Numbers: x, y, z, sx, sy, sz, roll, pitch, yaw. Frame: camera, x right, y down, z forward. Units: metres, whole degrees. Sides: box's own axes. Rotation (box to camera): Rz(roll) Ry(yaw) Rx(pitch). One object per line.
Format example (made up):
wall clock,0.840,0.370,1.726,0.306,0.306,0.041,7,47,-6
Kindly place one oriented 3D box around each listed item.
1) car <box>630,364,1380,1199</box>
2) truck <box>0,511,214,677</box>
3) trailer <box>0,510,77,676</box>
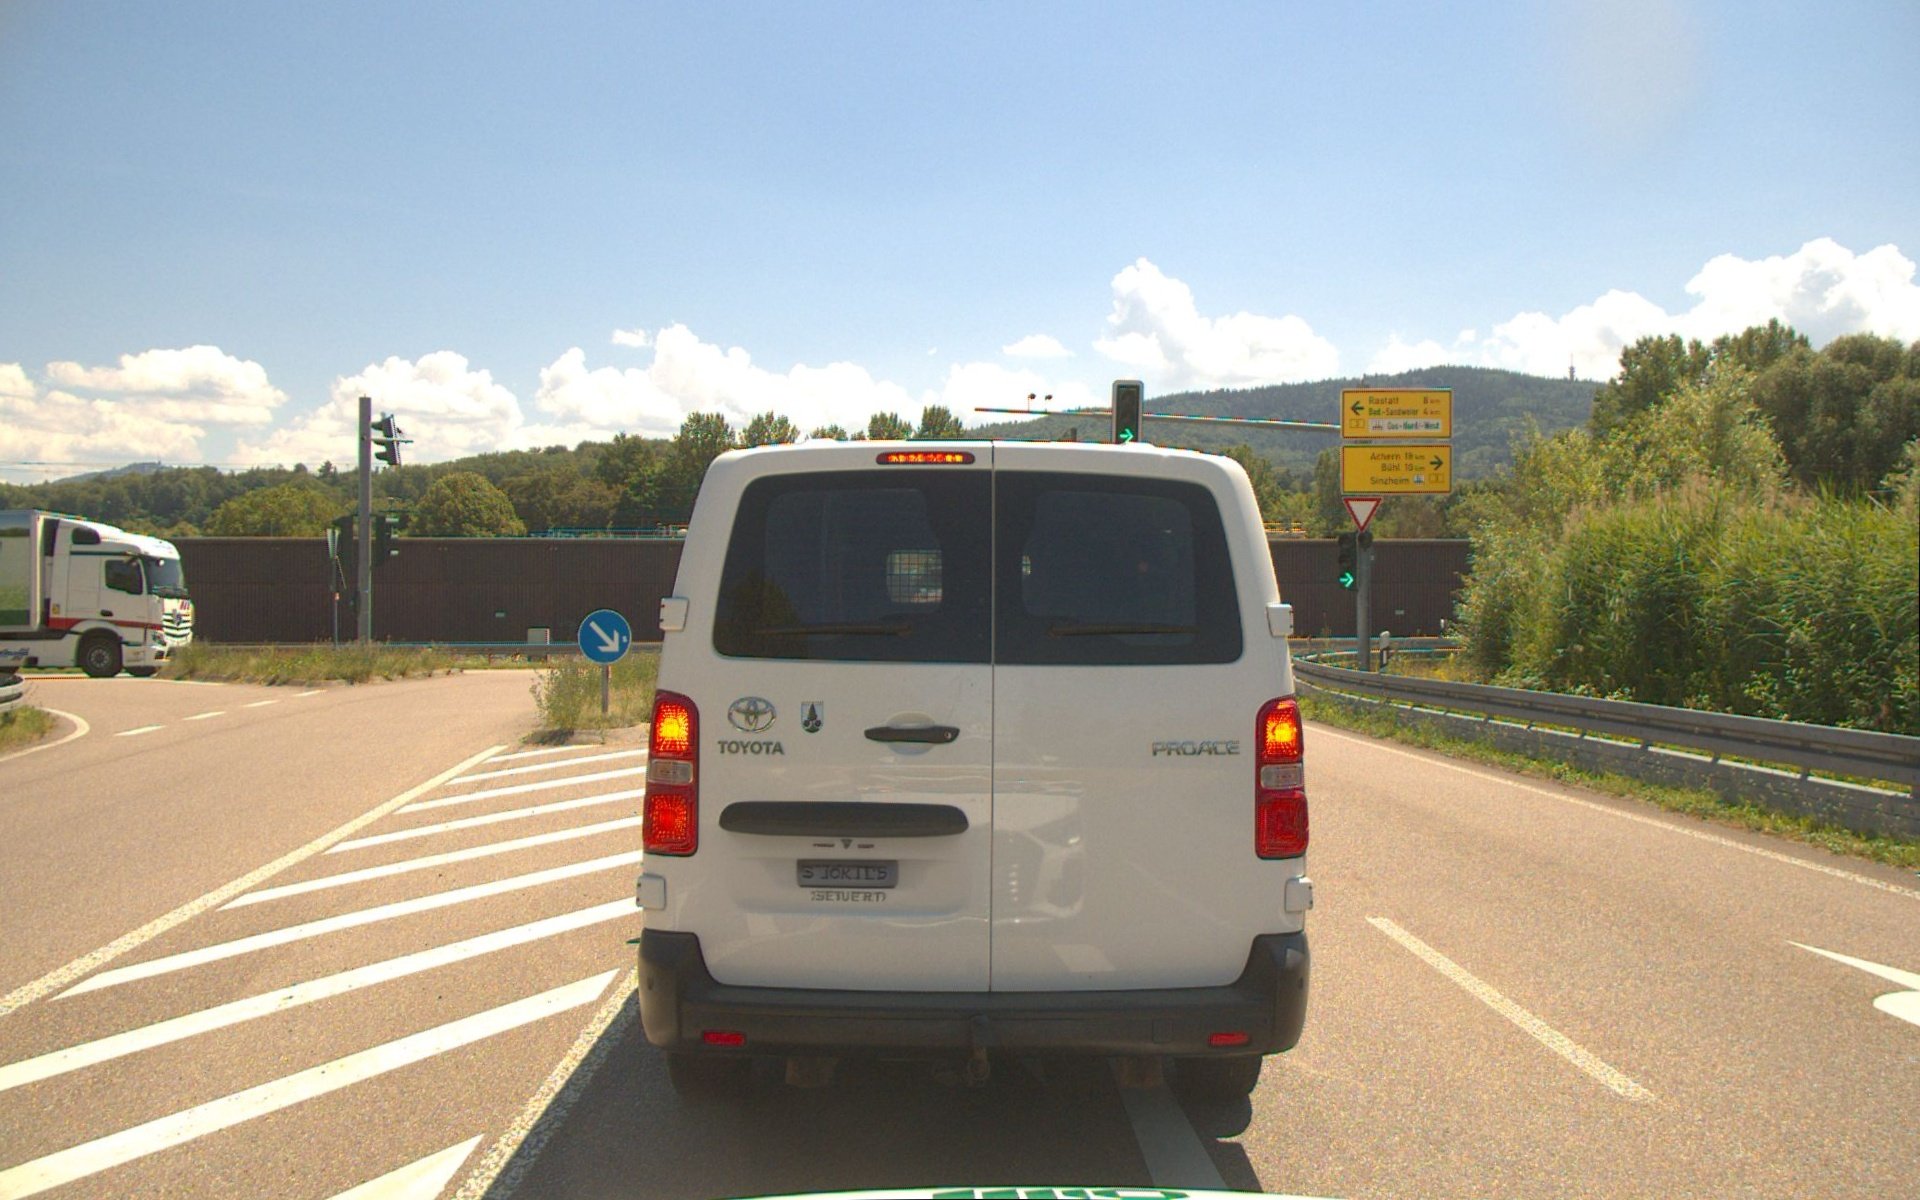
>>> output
car,0.083,0.480,5.931,1.778,2.053,3.999,0,0,-1
truck,-22.383,-0.144,41.792,5.649,4.024,3.061,0,-1,-3
trailer,-29.512,-0.184,41.454,12.877,4.024,3.060,0,-1,-3
